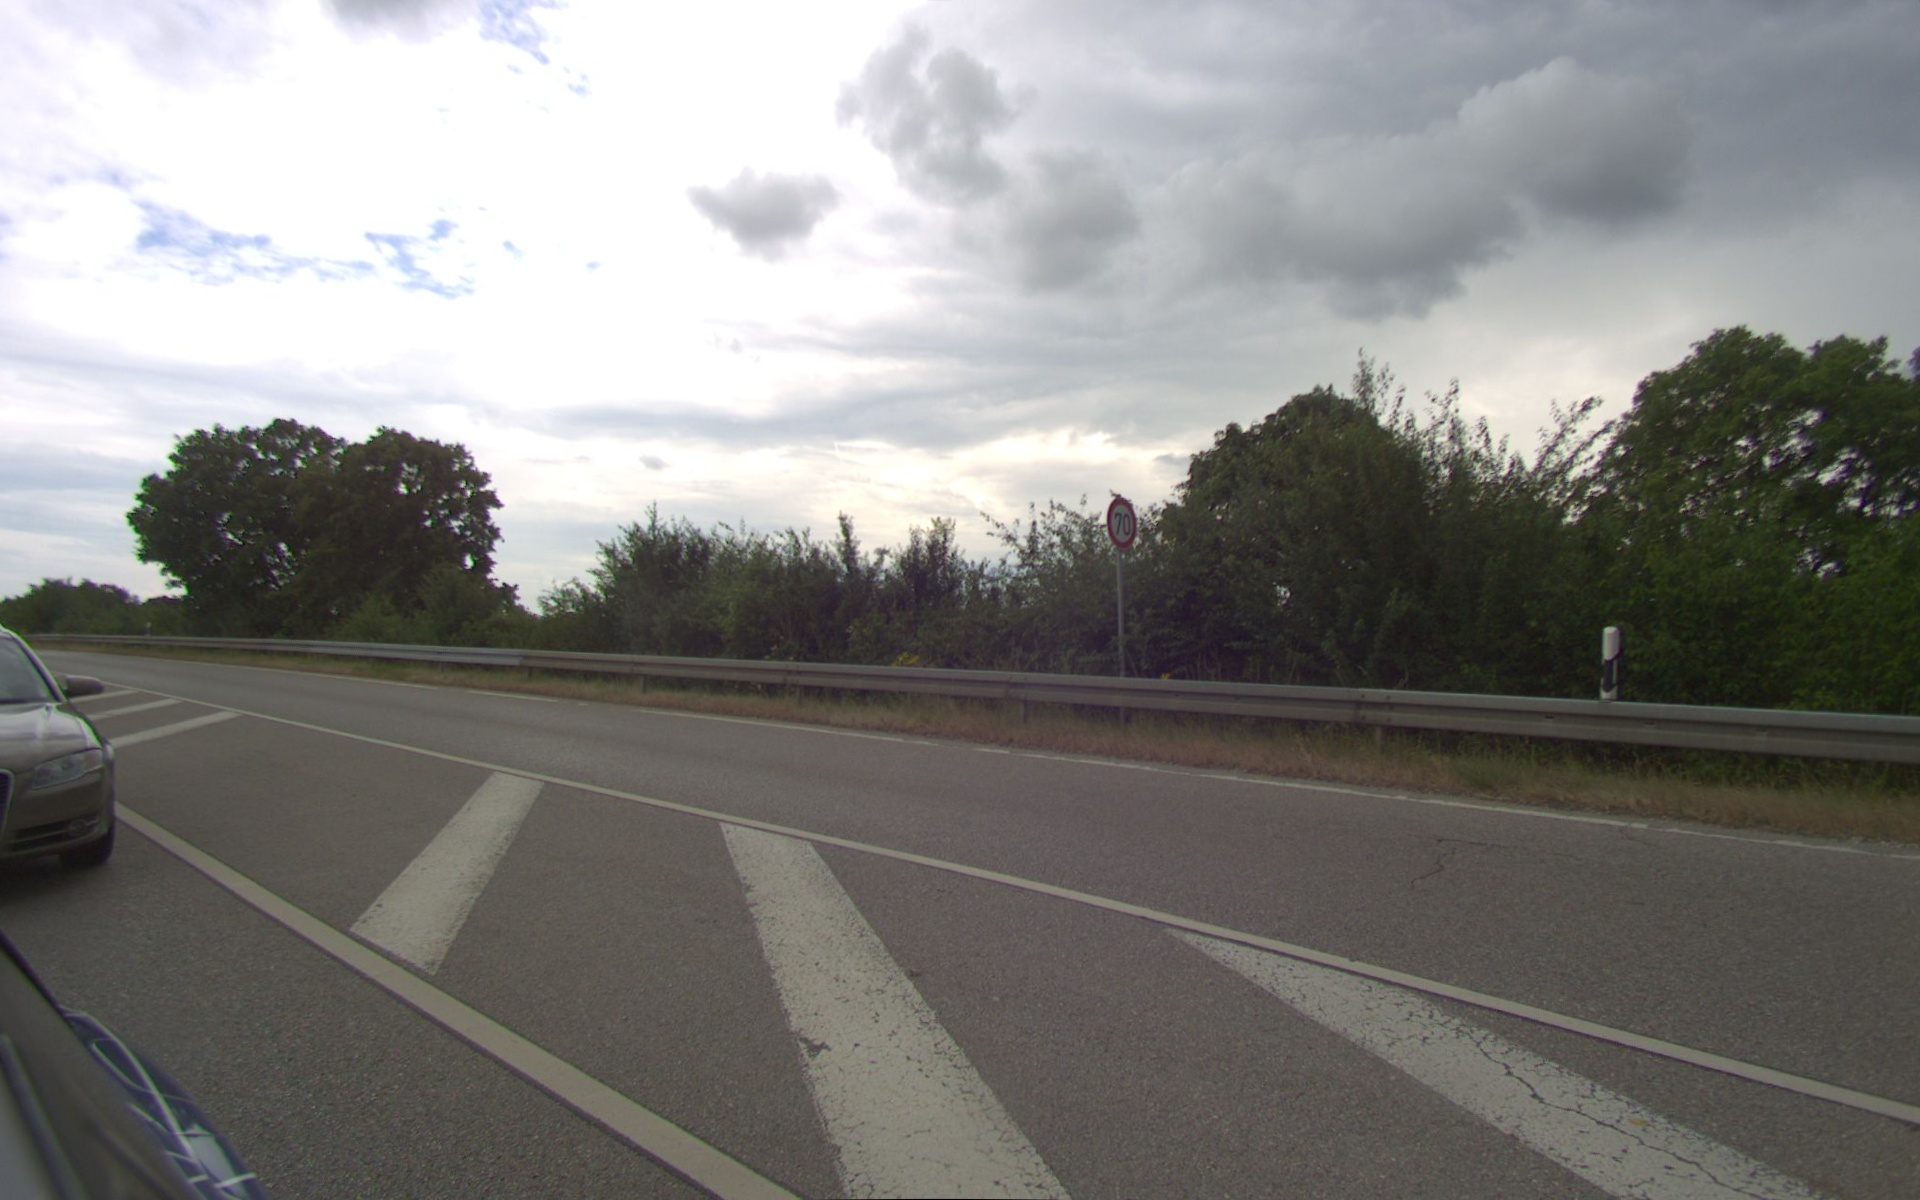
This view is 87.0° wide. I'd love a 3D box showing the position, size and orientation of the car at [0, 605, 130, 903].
[{"bbox_3d":[-6.481,0.797,6.014,4.032,1.461,1.761,-2,-1,41],"label":"car"}]
